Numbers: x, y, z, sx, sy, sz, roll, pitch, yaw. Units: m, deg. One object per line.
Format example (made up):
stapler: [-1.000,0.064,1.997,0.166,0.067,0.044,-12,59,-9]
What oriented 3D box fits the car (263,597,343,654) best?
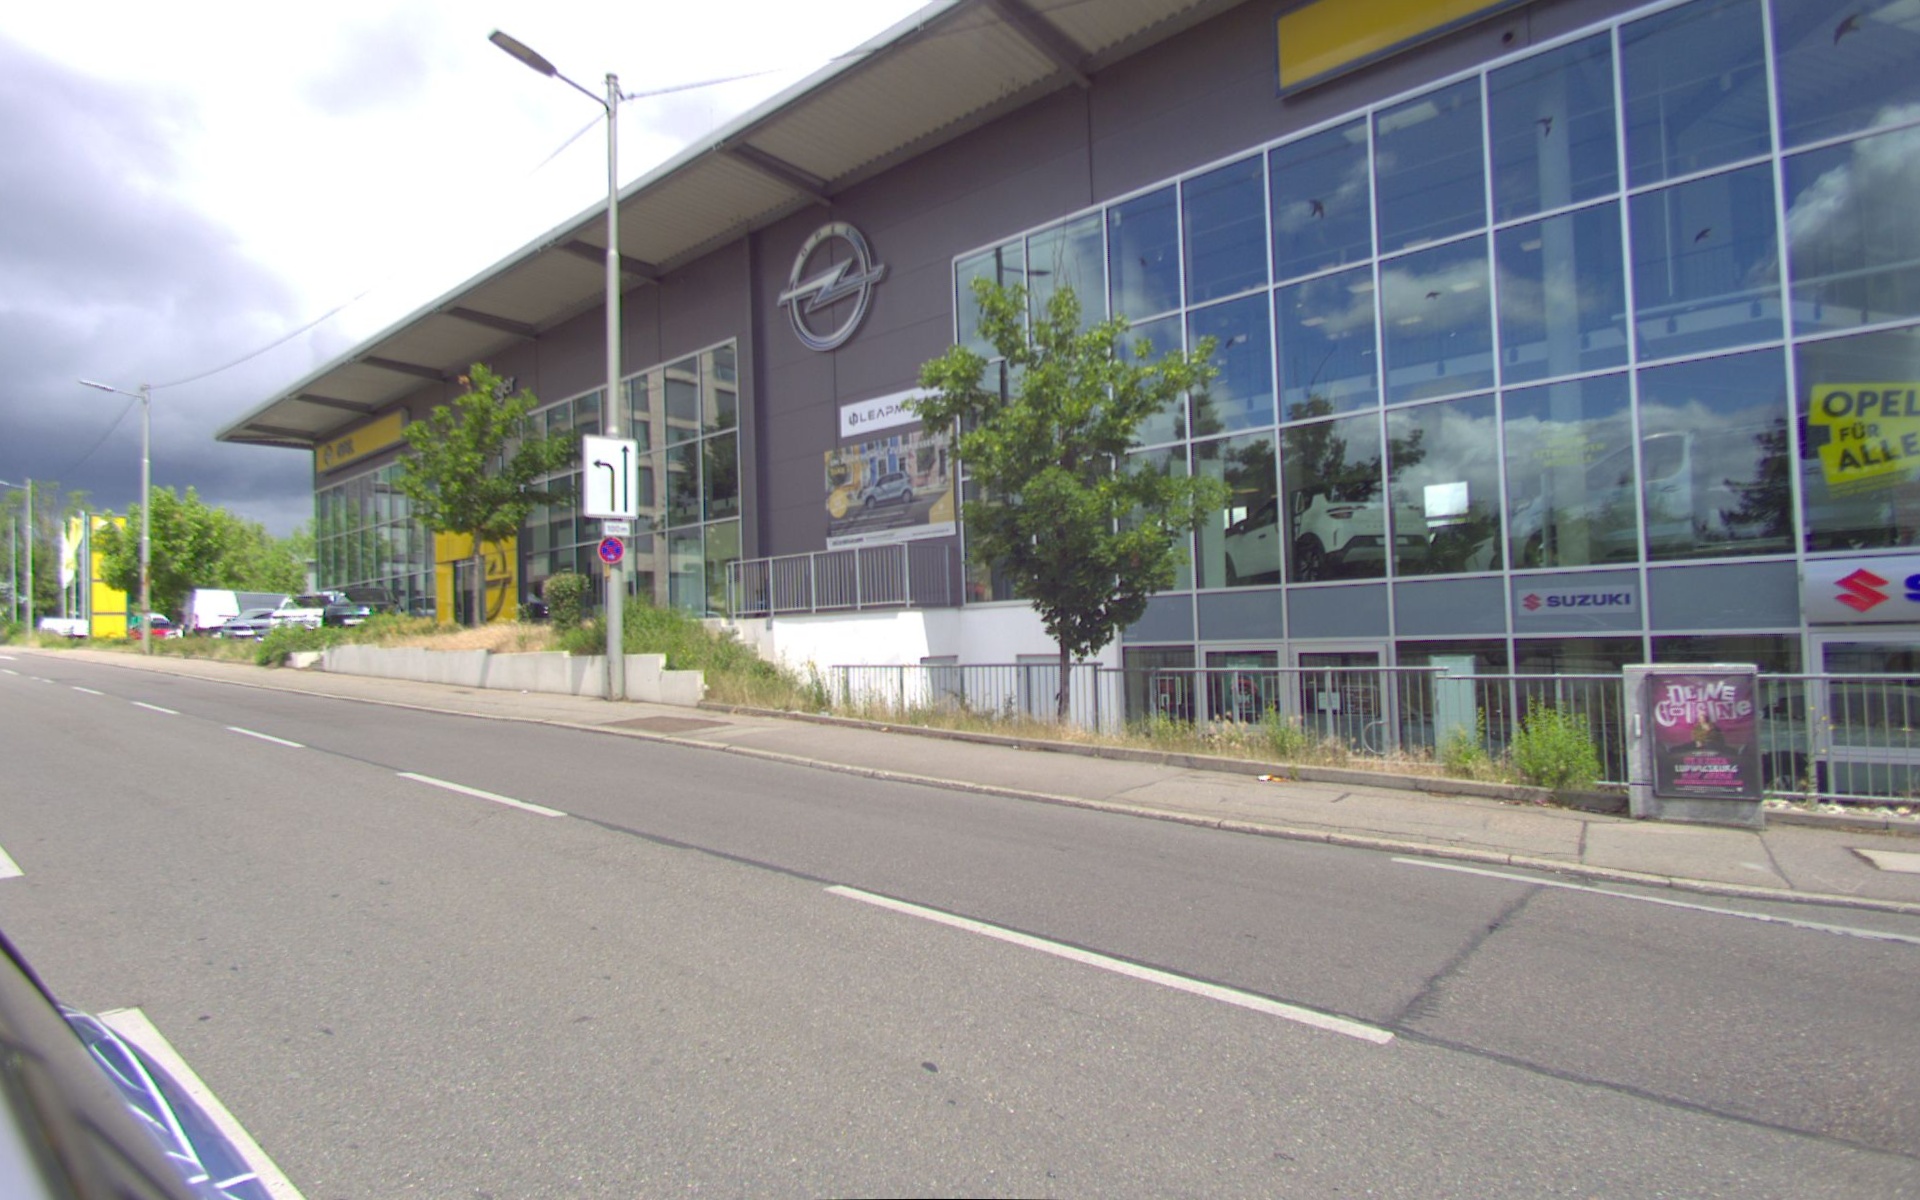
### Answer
car: [-22.034,0.850,34.073,1.966,1.807,4.012,1,-1,-29]

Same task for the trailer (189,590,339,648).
trailer: [-30.097,0.822,43.899,1.998,2.367,5.011,-1,-1,39]

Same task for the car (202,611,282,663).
car: [-26.439,1.334,37.373,1.966,1.807,4.012,1,-1,-29]

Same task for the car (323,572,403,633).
car: [-18.316,0.116,30.994,1.966,1.741,4.012,1,-1,-32]
